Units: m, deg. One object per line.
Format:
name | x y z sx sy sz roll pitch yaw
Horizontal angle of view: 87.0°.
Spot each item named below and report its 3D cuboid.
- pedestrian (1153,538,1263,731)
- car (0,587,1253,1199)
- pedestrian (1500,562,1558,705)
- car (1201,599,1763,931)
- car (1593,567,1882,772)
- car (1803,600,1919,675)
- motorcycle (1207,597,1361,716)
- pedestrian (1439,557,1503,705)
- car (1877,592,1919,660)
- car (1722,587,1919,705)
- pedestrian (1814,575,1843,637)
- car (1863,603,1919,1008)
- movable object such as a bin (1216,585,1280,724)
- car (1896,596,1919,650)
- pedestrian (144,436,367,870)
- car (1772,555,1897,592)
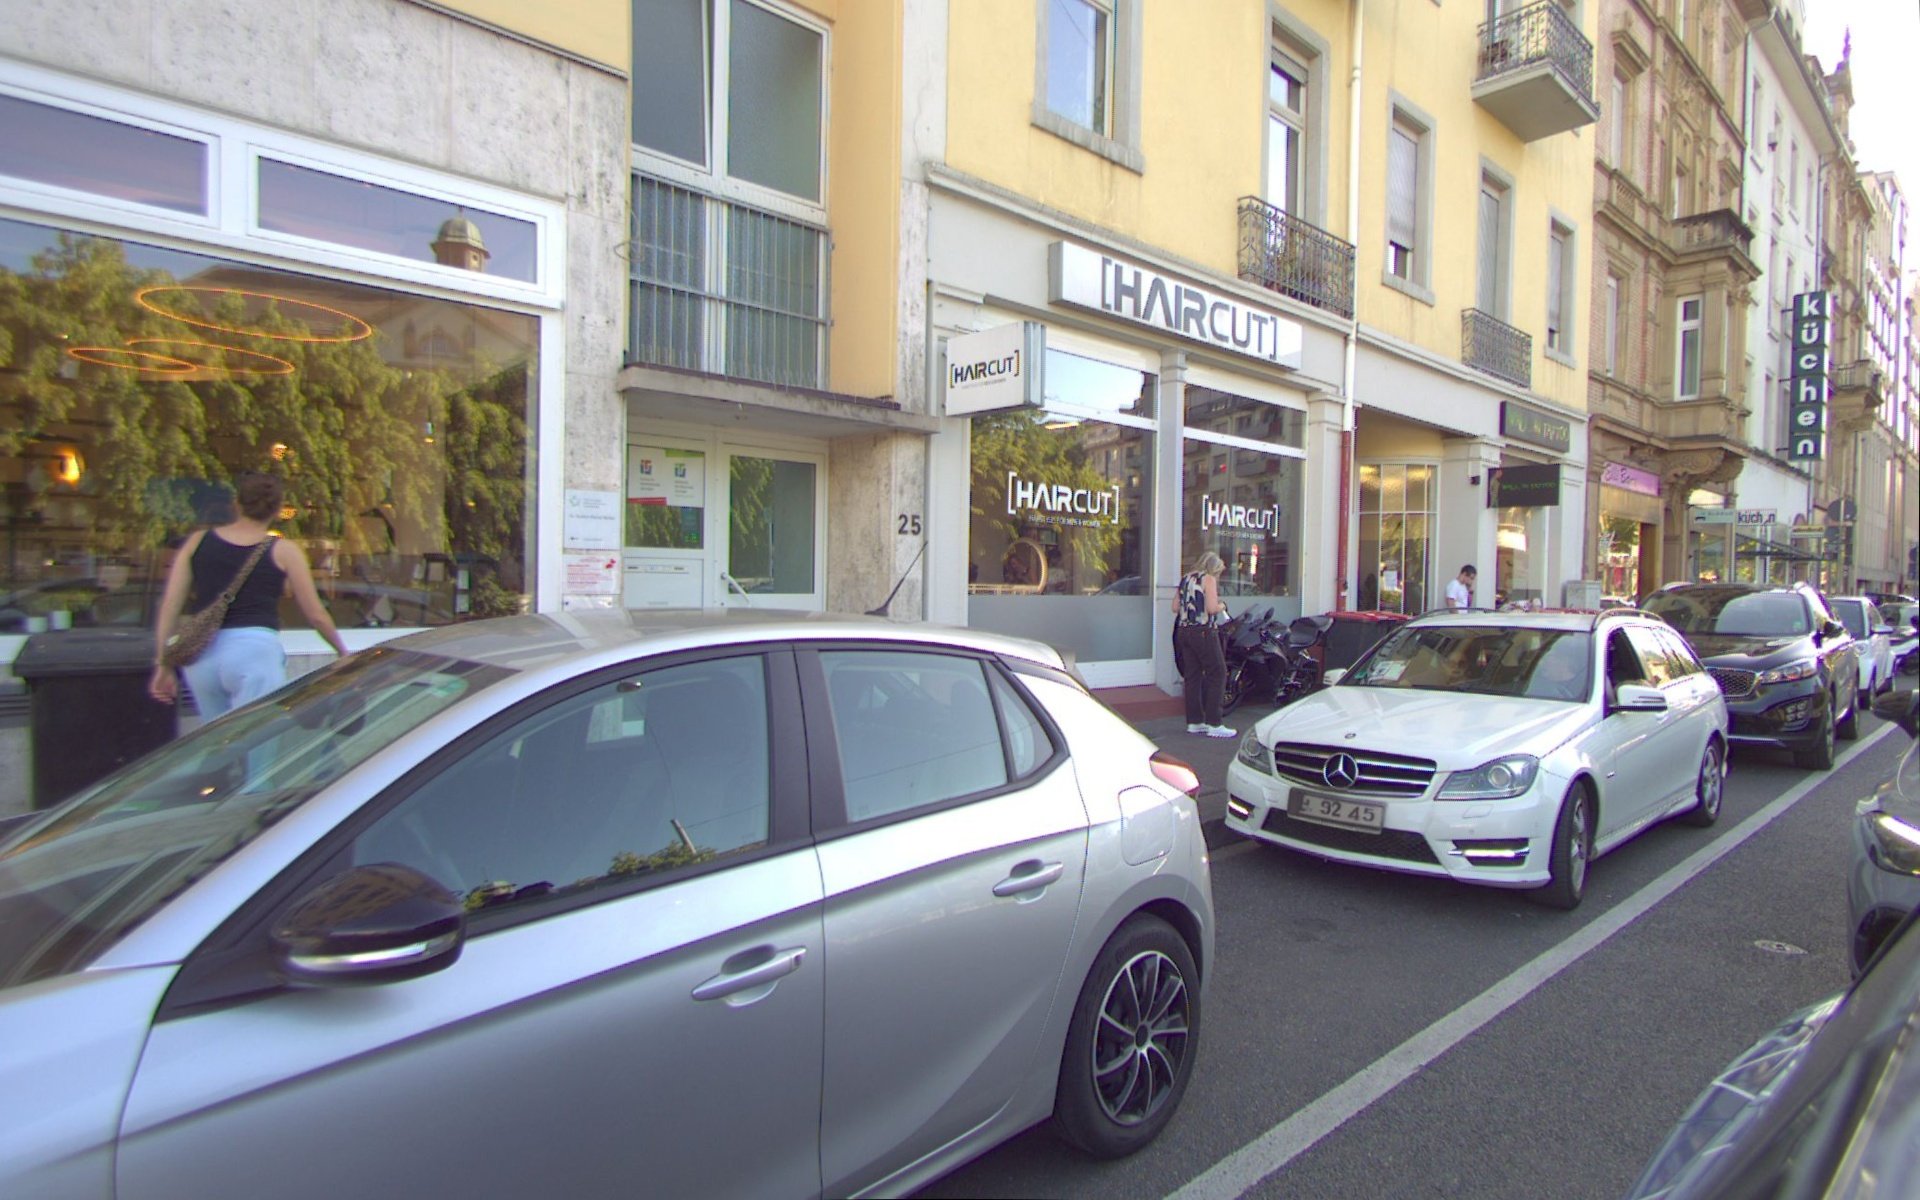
pedestrian | 2.269 0.285 9.287 0.595 1.674 0.719 0 3 -40
car | -0.999 0.697 2.279 3.597 1.445 1.549 -1 1 -42
pedestrian | 7.693 0.434 13.703 0.567 1.874 0.661 0 0 19
car | 3.523 0.709 6.419 4.302 1.376 1.703 -1 1 -41
car | 8.038 0.538 10.312 4.176 1.659 1.799 -1 1 -45
car | 18.047 0.675 19.851 4.016 1.282 1.800 -1 1 -42
motorcycle | 3.401 0.542 10.540 1.920 1.091 0.567 -1 4 -41
pedestrian | 7.060 0.413 13.982 0.679 2.008 0.375 1 1 -18
car | 22.230 0.551 23.018 4.016 1.450 1.657 -1 0 -42
car | 13.114 0.580 15.326 4.016 1.546 1.800 -1 0 -42
pedestrian | 26.471 0.173 30.840 0.653 1.874 0.574 0 0 -40
car | 5.278 0.705 4.231 3.931 1.376 1.800 -1 1 -41
movable object such as a bin | 2.714 0.496 9.537 0.387 1.253 0.391 0 3 -41
car | 26.590 0.596 27.186 3.773 1.357 1.800 -1 1 -42
pedestrian | -2.986 0.201 4.356 0.645 1.686 0.649 0 0 -21
car | 38.443 -1.142 44.627 3.974 1.571 1.834 0 0 36
